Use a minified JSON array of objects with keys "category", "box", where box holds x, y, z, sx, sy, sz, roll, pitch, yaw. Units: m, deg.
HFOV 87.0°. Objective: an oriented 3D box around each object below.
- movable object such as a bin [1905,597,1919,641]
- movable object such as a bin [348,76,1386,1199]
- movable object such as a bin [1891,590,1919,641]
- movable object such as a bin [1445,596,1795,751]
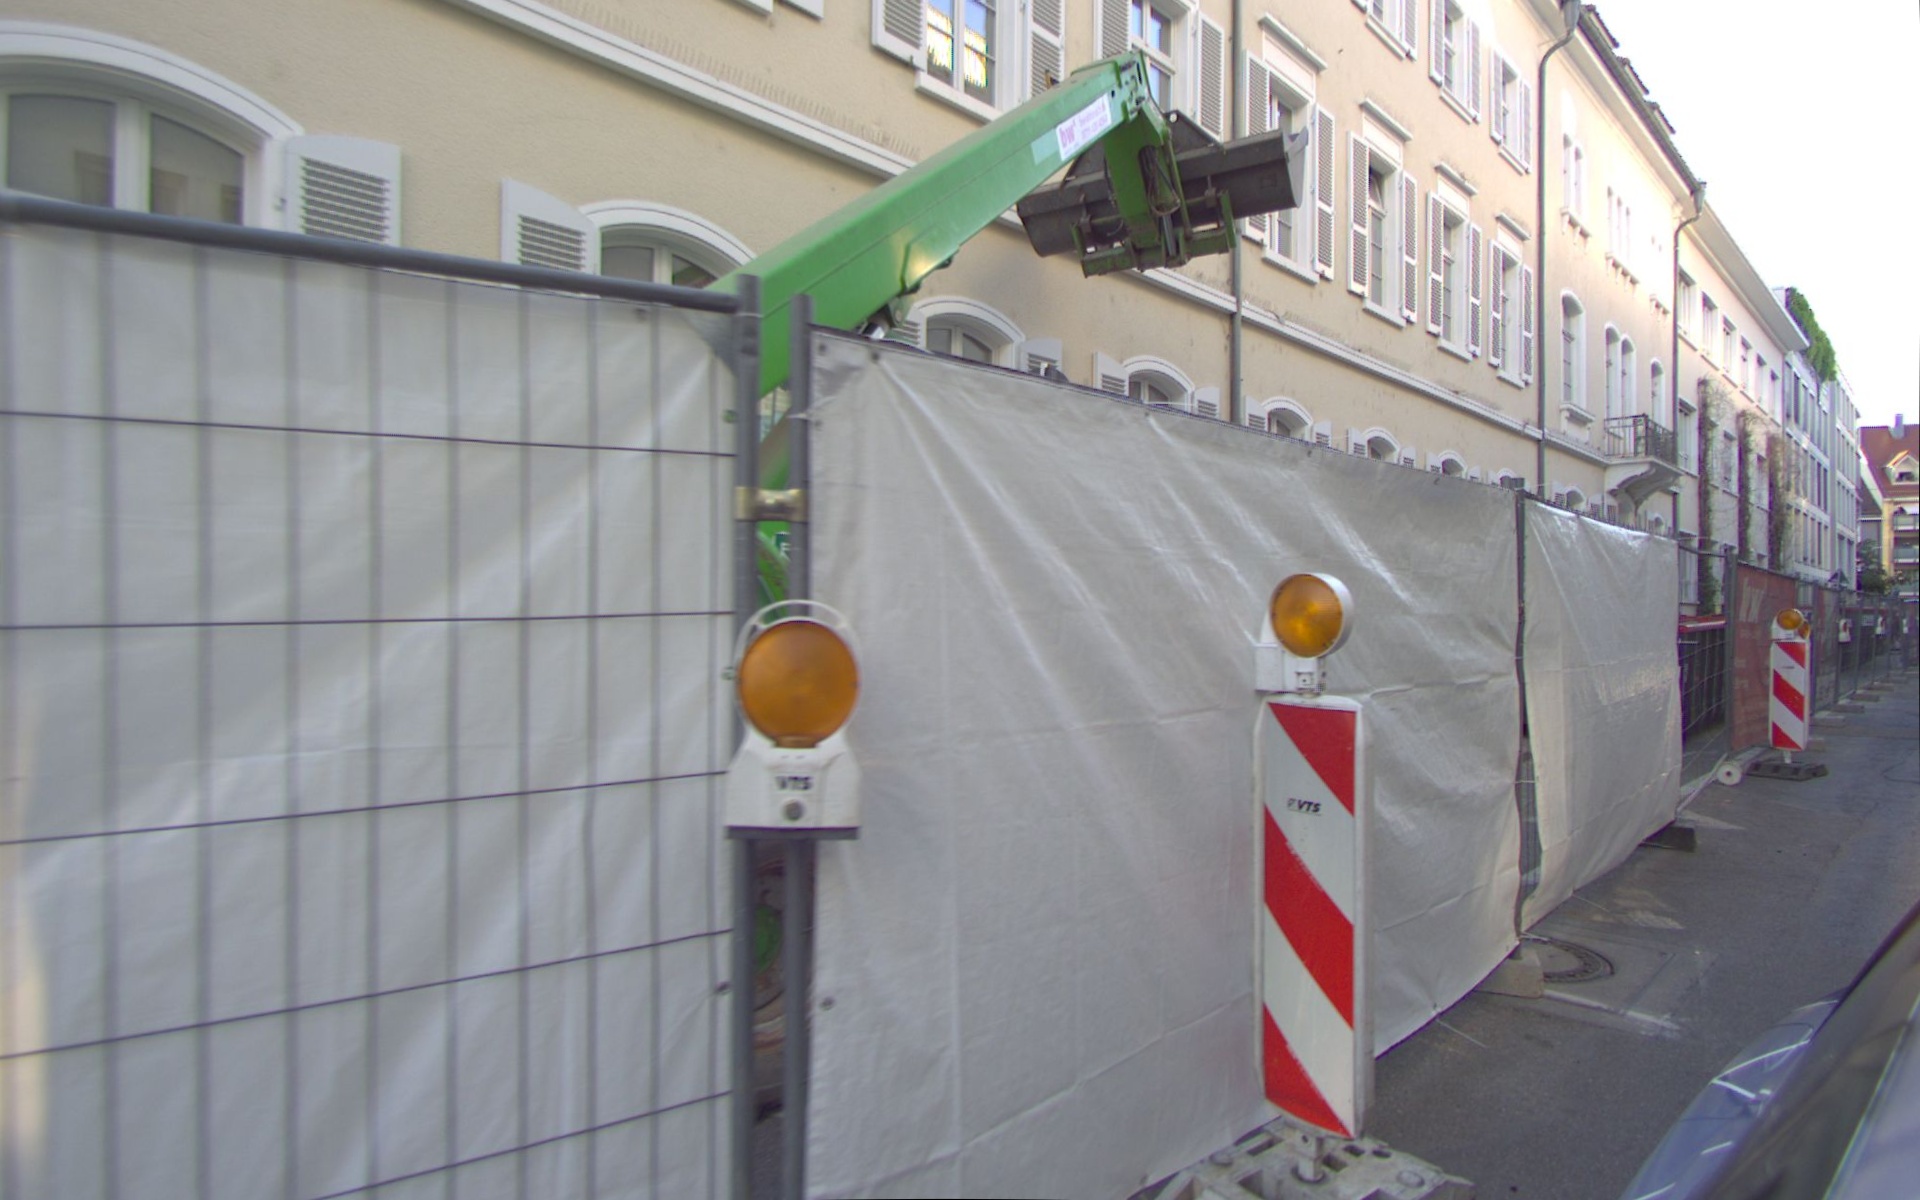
[{"category":"movable object such as a bin","box":[59.999,1.150,62.460,5.654,2.657,2.017,1,-3,-44]},{"category":"movable object such as a bin","box":[-0.163,0.149,4.949,4.375,2.875,2.607,1,0,-44]},{"category":"movable object such as a bin","box":[52.978,0.881,55.748,5.654,2.658,2.017,2,-4,-44]},{"category":"movable object such as a bin","box":[9.711,0.830,14.459,2.737,1.659,7.429,-1,-1,45]}]
